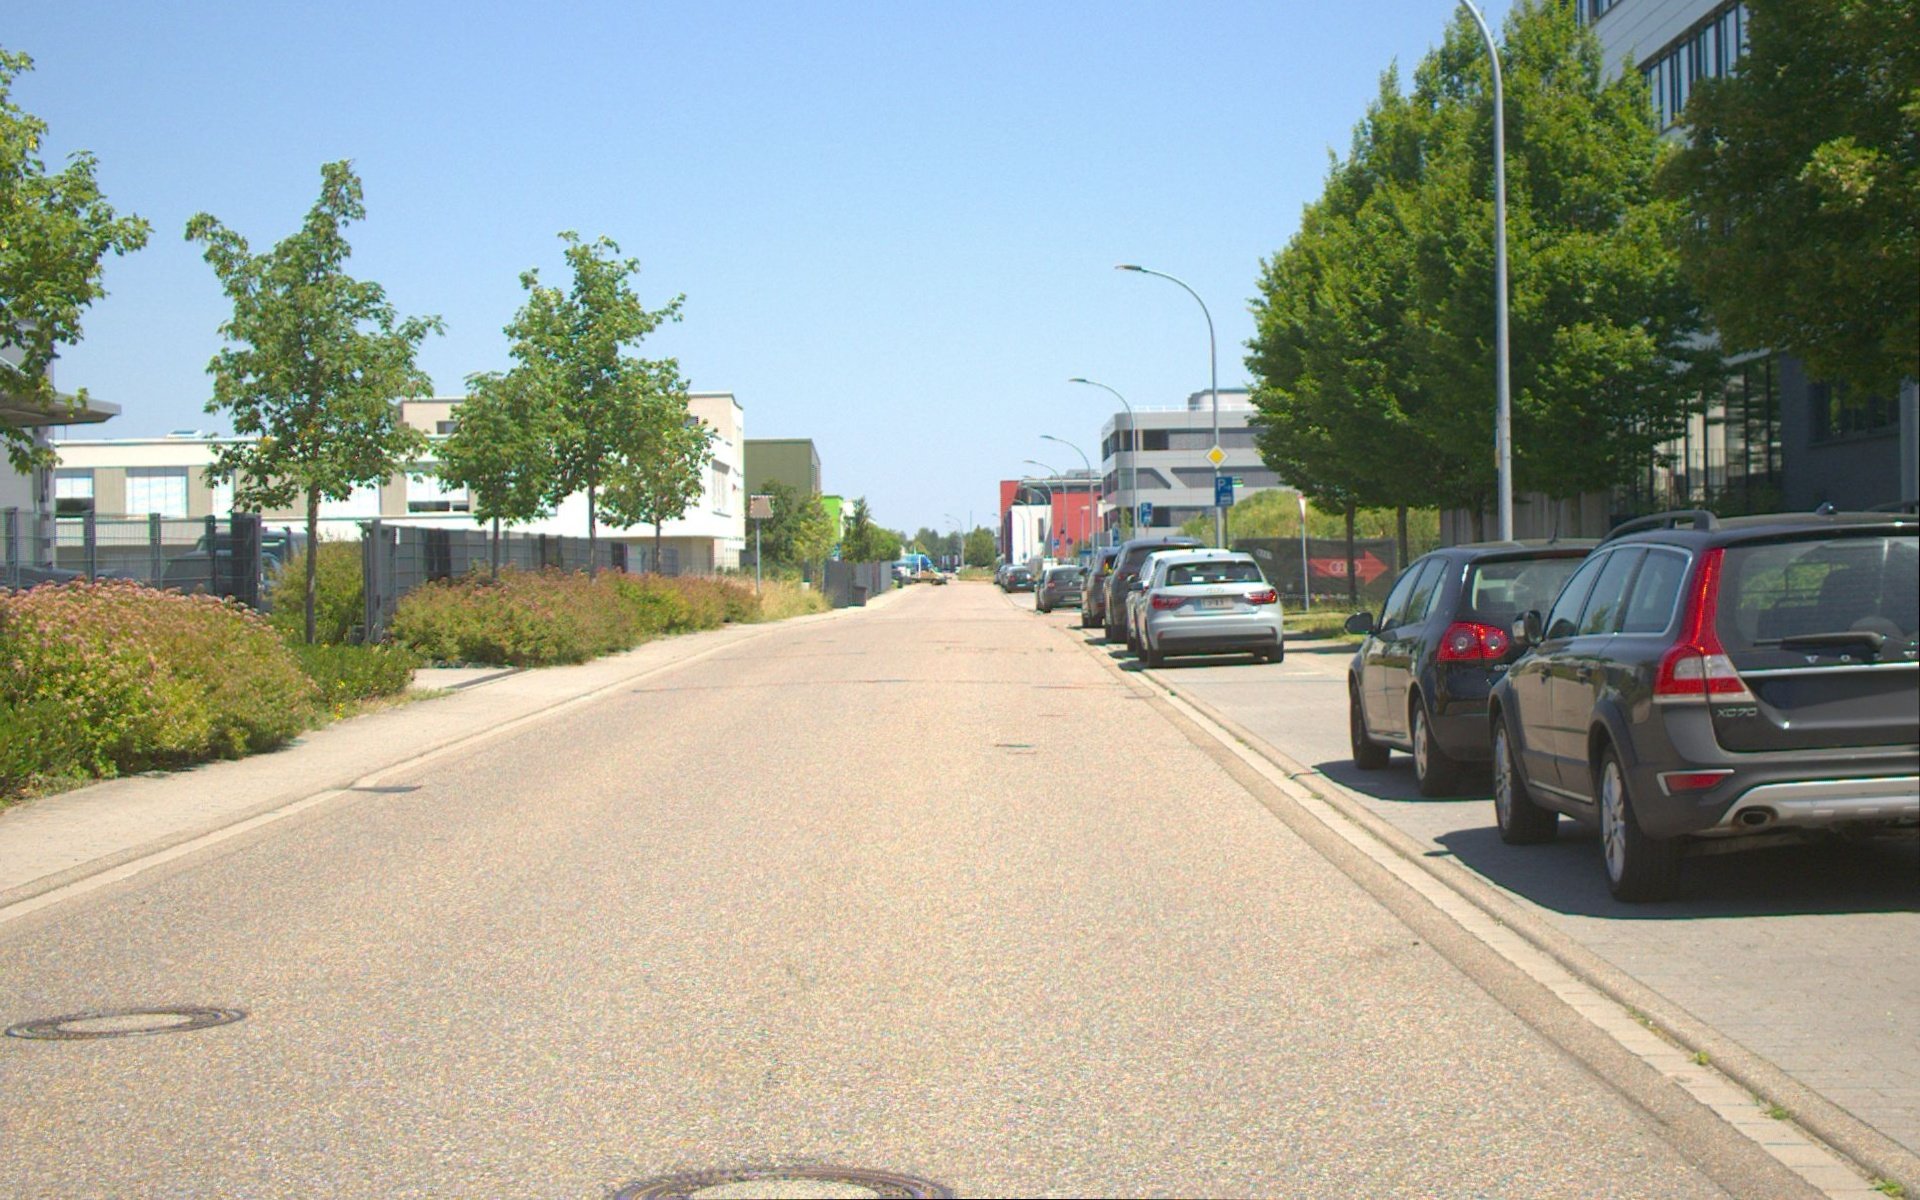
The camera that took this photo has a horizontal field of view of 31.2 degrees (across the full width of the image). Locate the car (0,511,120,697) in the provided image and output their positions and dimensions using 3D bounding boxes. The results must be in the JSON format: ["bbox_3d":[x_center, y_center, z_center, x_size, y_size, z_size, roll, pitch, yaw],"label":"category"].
[{"bbox_3d":[-11.333,0.030,35.032,5.059,1.844,1.964,0,1,0],"label":"car"}]

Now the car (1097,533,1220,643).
[{"bbox_3d":[3.215,-0.217,56.329,1.758,1.657,4.363,-2,1,1],"label":"car"}]

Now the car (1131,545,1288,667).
[{"bbox_3d":[3.172,0.042,44.364,1.716,1.418,3.951,-3,1,1],"label":"car"}]

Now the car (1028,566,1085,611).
[{"bbox_3d":[3.497,-0.437,124.429,1.908,1.541,4.000,-2,0,3],"label":"car"}]

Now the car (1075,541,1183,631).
[{"bbox_3d":[3.358,-0.307,69.002,1.803,1.656,4.608,-3,1,-1],"label":"car"}]

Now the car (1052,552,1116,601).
[{"bbox_3d":[3.929,-0.752,108.760,1.908,1.443,4.000,-2,0,3],"label":"car"}]

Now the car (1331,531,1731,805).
[{"bbox_3d":[3.437,0.353,21.438,1.691,1.471,4.269,-2,1,-1],"label":"car"}]

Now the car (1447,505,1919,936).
[{"bbox_3d":[3.493,0.414,15.530,1.807,1.612,4.715,-2,1,-1],"label":"car"}]

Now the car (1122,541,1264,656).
[{"bbox_3d":[3.272,-0.054,48.946,1.716,1.476,4.031,-3,1,1],"label":"car"}]

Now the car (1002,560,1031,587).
[{"bbox_3d":[3.577,-1.700,219.562,1.776,1.722,4.000,1,1,0],"label":"car"}]
